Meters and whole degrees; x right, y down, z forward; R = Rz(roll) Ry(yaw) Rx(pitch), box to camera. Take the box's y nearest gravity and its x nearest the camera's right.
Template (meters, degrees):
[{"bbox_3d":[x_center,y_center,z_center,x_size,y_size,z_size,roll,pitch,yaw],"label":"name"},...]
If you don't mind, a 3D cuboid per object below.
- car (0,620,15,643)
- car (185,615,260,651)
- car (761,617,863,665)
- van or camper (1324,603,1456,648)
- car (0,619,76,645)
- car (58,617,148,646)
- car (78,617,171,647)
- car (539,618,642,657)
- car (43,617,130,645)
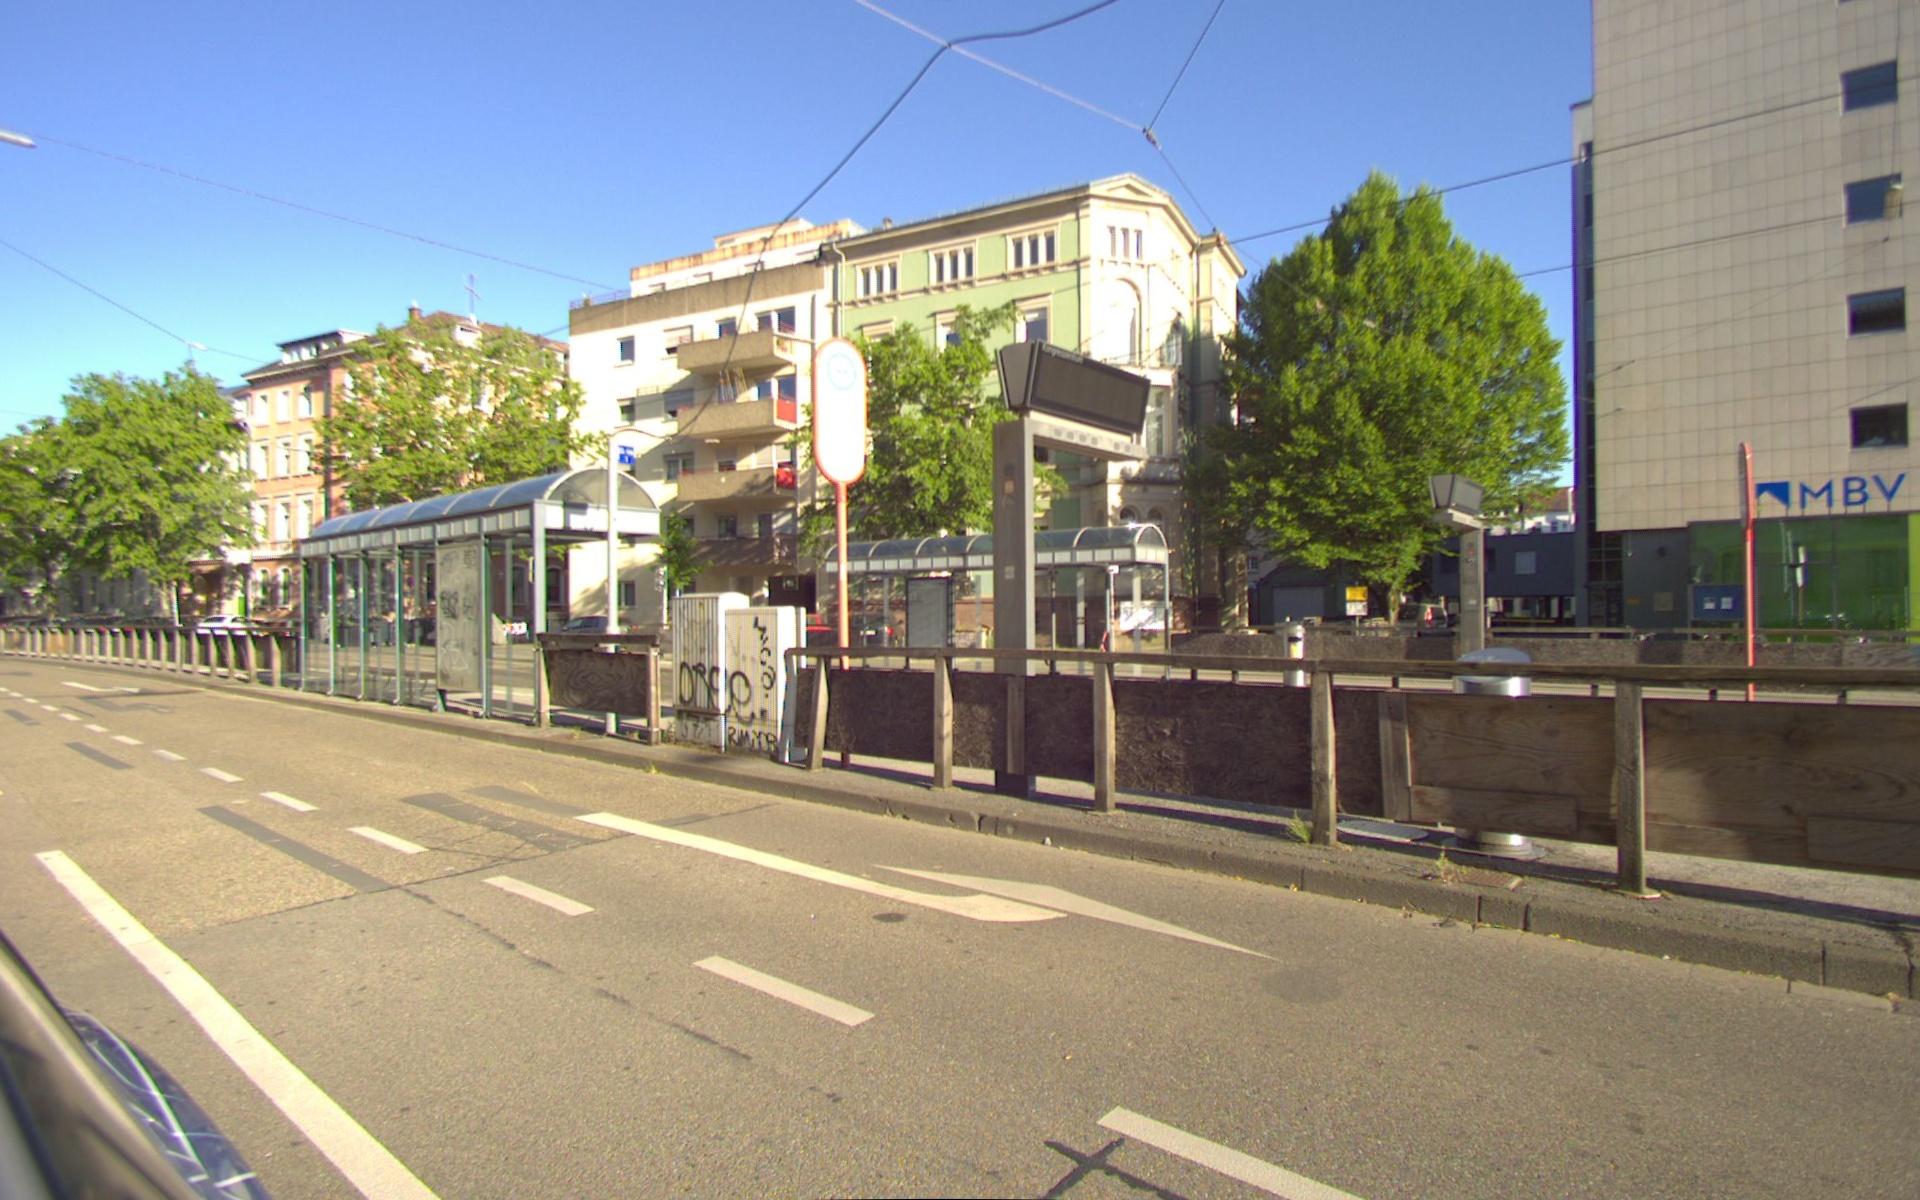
[{"bbox_3d":[-68.109,2.184,70.118,2.001,1.604,3.812,-2,-2,44],"label":"car"},{"bbox_3d":[-39.531,1.747,54.379,1.966,1.736,4.012,0,1,-15],"label":"car"},{"bbox_3d":[-5.010,1.362,34.694,1.763,1.547,3.763,-1,-2,23],"label":"car"},{"bbox_3d":[15.496,0.884,36.551,3.998,1.417,1.943,2,0,41],"label":"van or camper"},{"bbox_3d":[-59.620,2.053,65.273,3.811,1.604,2.001,1,-2,-45],"label":"car"},{"bbox_3d":[-51.303,1.882,60.633,2.001,1.697,3.942,-2,-2,44],"label":"car"},{"bbox_3d":[-47.986,1.819,58.161,2.001,1.697,3.942,-2,-2,44],"label":"car"},{"bbox_3d":[-14.012,1.410,38.399,3.498,1.406,1.602,-1,-2,22],"label":"car"},{"bbox_3d":[-54.311,1.927,62.962,2.001,1.697,3.942,-2,-2,44],"label":"car"}]
